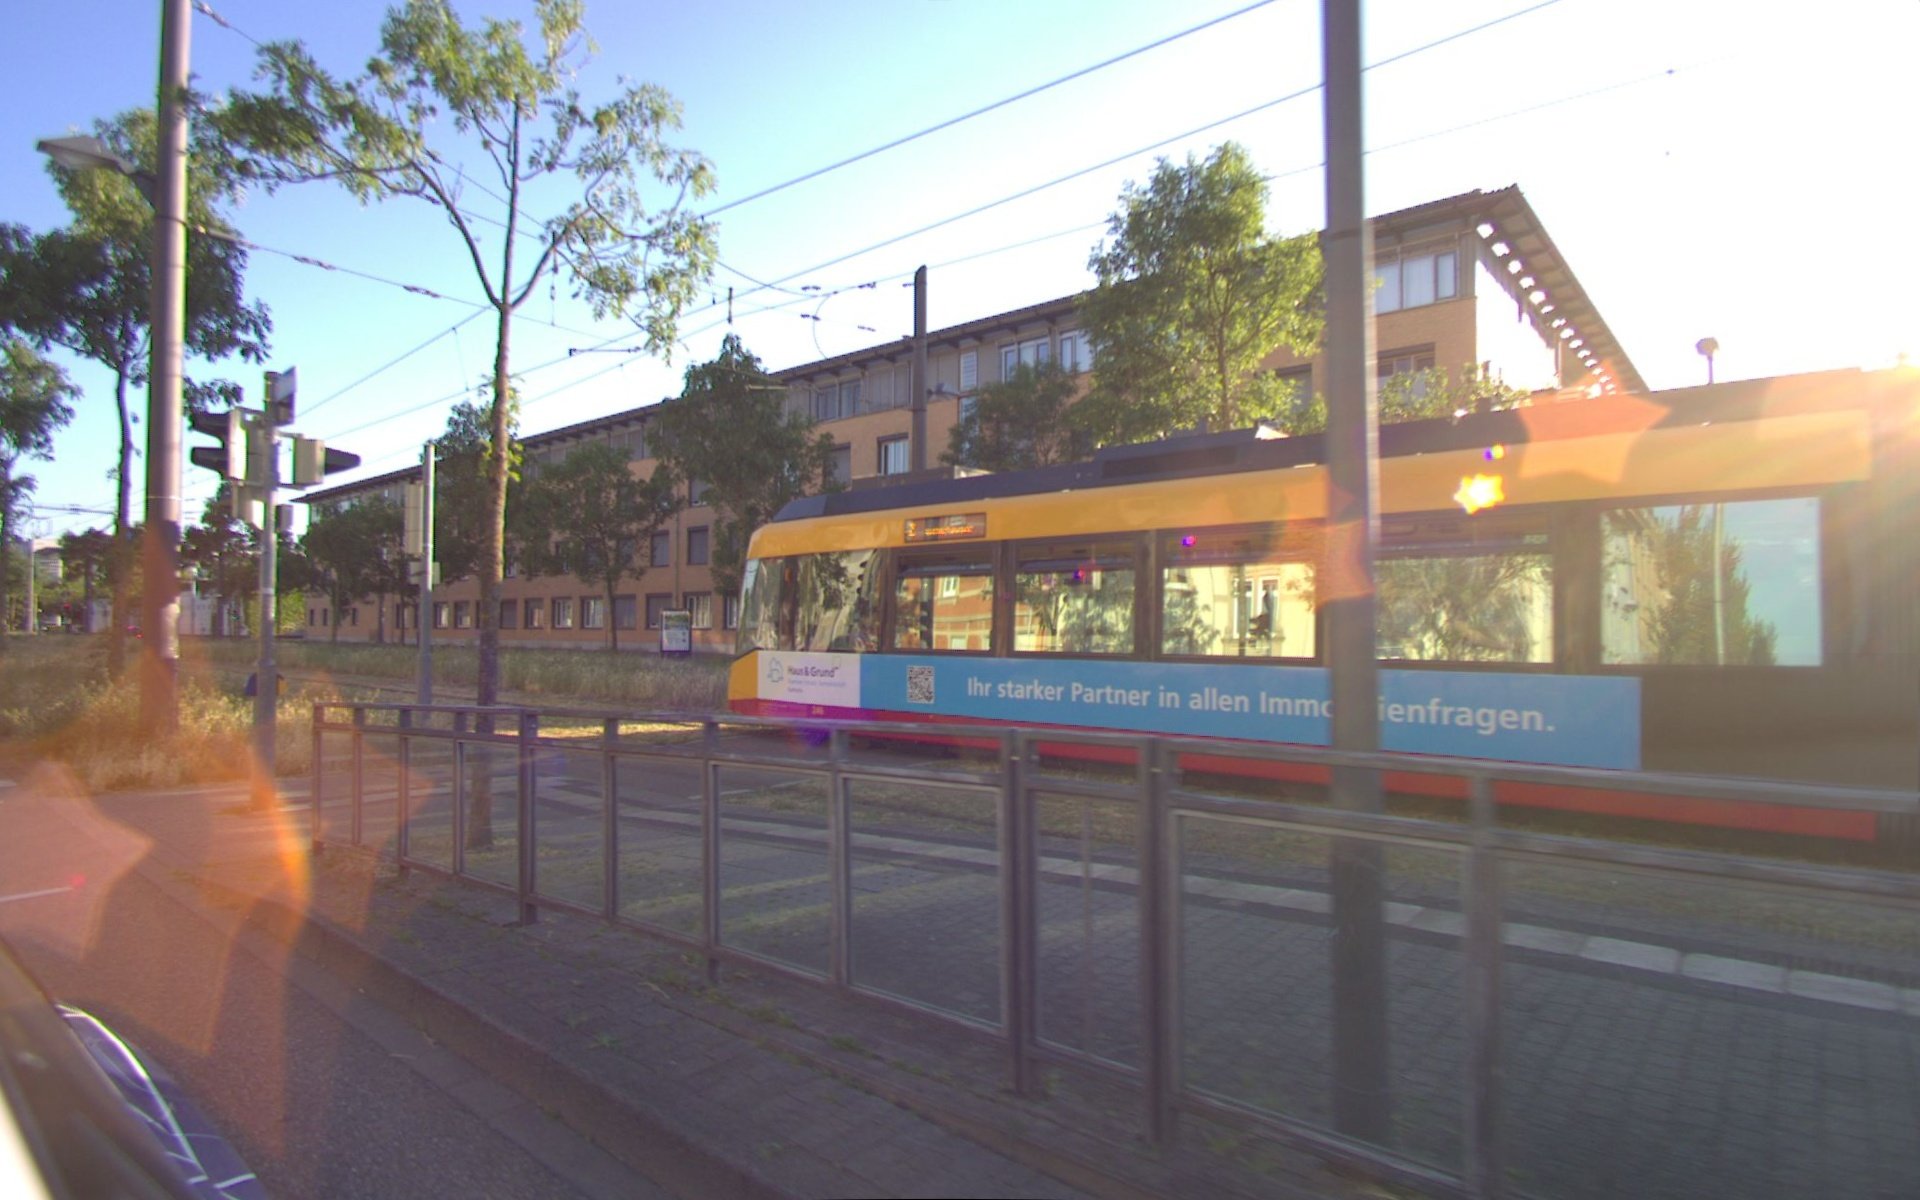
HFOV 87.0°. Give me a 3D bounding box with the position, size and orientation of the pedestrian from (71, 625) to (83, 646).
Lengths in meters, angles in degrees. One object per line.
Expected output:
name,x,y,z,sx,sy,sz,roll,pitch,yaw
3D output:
pedestrian,-71.098,2.858,81.509,0.544,1.697,0.512,-1,-2,12

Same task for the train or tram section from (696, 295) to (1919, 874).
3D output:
train or tram section,2.976,0.019,10.738,15.020,3.456,3.395,-1,-2,41

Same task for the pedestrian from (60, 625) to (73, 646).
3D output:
pedestrian,-72.150,2.890,81.727,0.544,1.697,0.512,-2,-2,11

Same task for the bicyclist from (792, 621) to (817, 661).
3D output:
bicyclist,-6.727,1.770,43.825,0.825,1.687,0.688,-2,-2,41

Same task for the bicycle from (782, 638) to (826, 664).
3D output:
bicycle,-6.763,2.198,43.857,2.093,1.060,0.702,-1,-2,41

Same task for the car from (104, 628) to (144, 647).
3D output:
car,-65.786,2.936,79.615,3.997,1.386,1.772,-1,-2,41
